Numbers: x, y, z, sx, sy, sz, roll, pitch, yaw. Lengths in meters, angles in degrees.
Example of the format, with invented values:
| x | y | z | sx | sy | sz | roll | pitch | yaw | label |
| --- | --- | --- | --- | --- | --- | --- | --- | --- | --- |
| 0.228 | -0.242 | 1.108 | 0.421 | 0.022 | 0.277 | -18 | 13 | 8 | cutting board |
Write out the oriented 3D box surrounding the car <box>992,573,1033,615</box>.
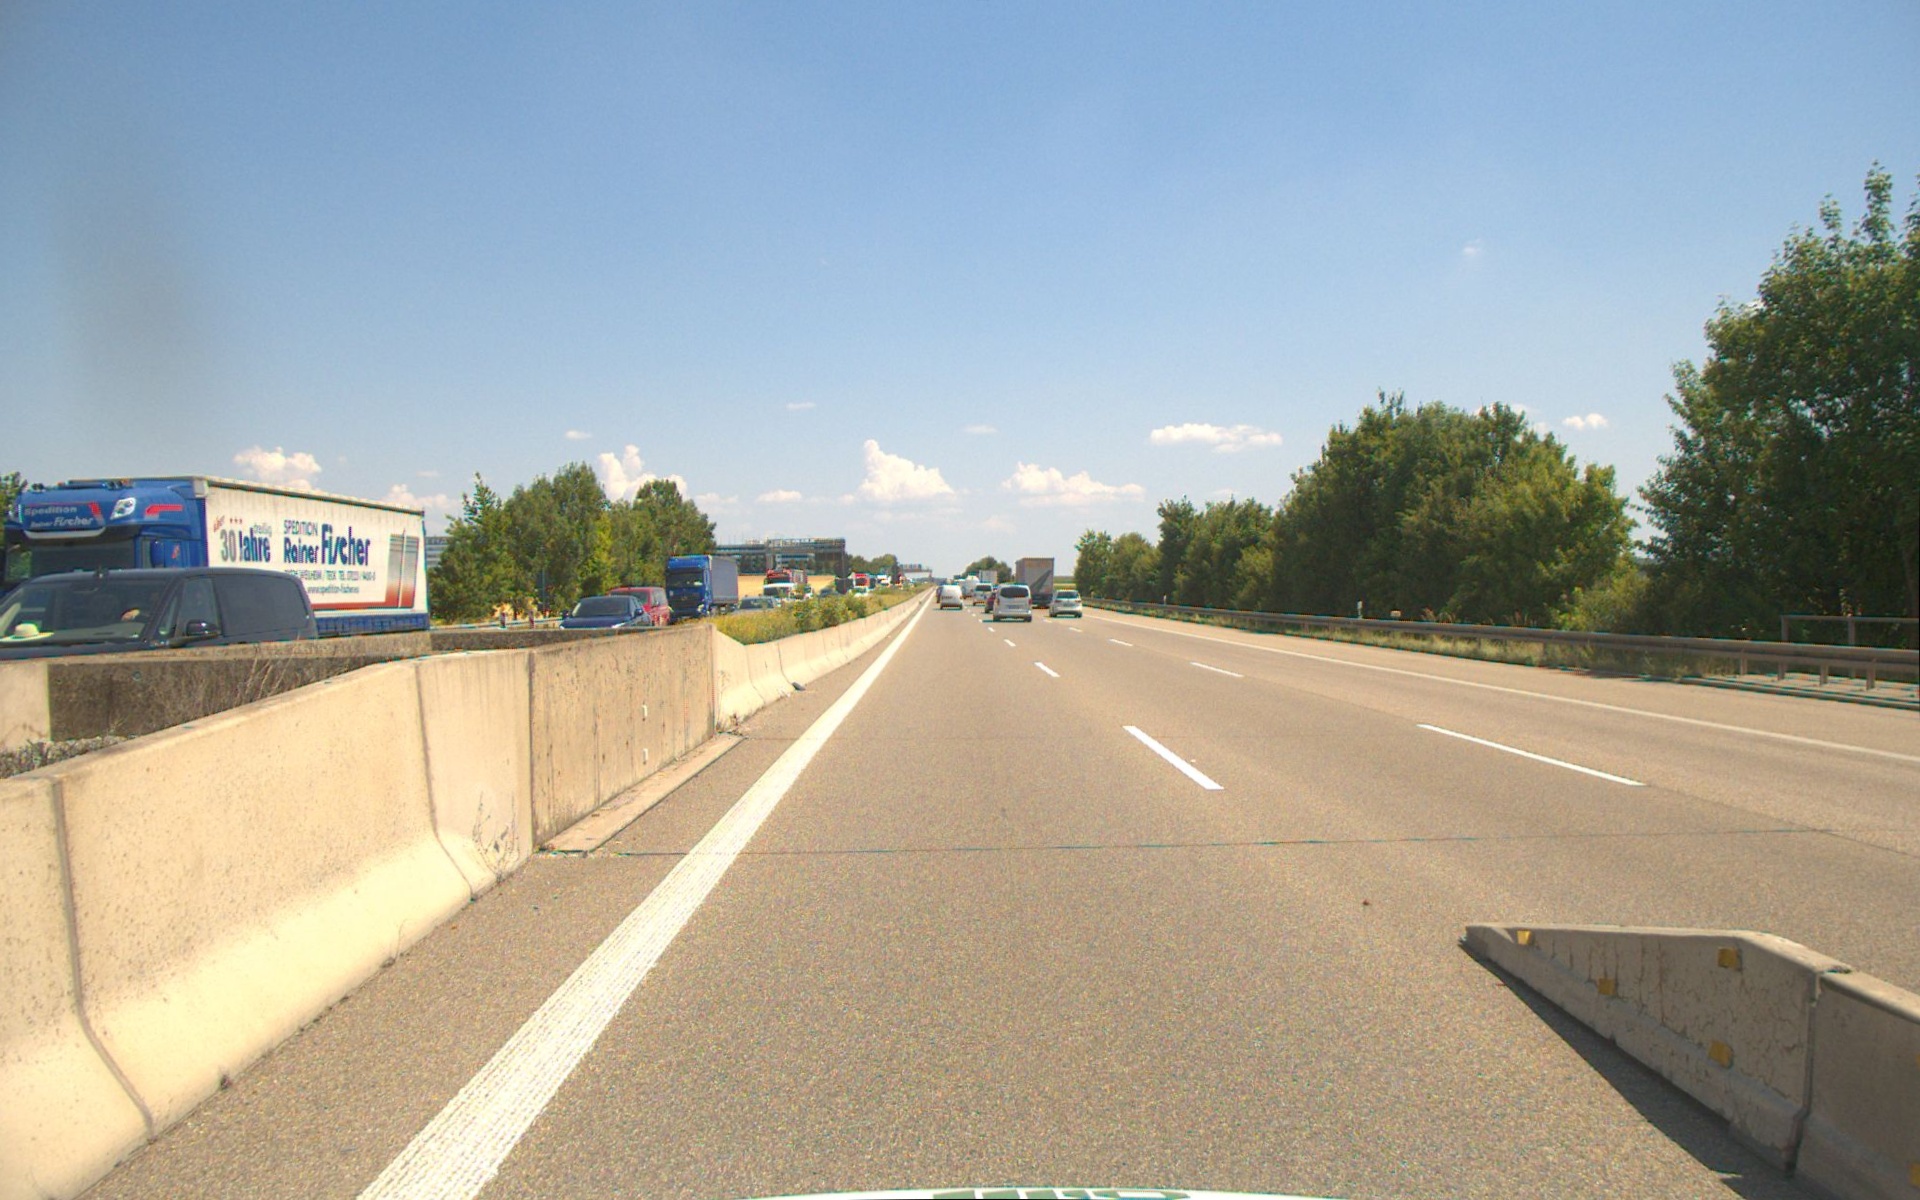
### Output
| x | y | z | sx | sy | sz | roll | pitch | yaw | label |
| --- | --- | --- | --- | --- | --- | --- | --- | --- | --- |
| 2.684 | -0.290 | 85.811 | 1.953 | 2.157 | 3.999 | 0 | -1 | -1 | car |

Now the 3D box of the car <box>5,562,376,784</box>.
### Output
| x | y | z | sx | sy | sz | roll | pitch | yaw | label |
| --- | --- | --- | --- | --- | --- | --- | --- | --- | --- |
| -7.812 | 0.659 | 17.345 | 1.776 | 1.980 | 4.614 | -1 | 0 | -1 | car |

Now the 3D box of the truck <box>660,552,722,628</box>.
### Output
| x | y | z | sx | sy | sz | roll | pitch | yaw | label |
| --- | --- | --- | --- | --- | --- | --- | --- | --- | --- |
| -16.311 | -0.603 | 100.550 | 2.807 | 4.426 | 5.585 | -1 | 0 | -1 | truck |

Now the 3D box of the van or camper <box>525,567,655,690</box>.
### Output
| x | y | z | sx | sy | sz | roll | pitch | yaw | label |
| --- | --- | --- | --- | --- | --- | --- | --- | --- | --- |
| -8.592 | 0.629 | 38.809 | 2.104 | 2.674 | 4.396 | -1 | 0 | -1 | van or camper |

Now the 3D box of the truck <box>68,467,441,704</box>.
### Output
| x | y | z | sx | sy | sz | roll | pitch | yaw | label |
| --- | --- | --- | --- | --- | --- | --- | --- | --- | --- |
| -15.497 | -0.286 | 38.200 | 2.540 | 4.312 | 14.120 | -3 | 0 | -1 | truck |

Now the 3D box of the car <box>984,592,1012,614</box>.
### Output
| x | y | z | sx | sy | sz | roll | pitch | yaw | label |
| --- | --- | --- | --- | --- | --- | --- | --- | --- | --- |
| 2.574 | 0.238 | 112.497 | 1.737 | 1.472 | 3.999 | 0 | -1 | -1 | car |

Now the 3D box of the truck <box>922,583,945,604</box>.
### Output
| x | y | z | sx | sy | sz | roll | pitch | yaw | label |
| --- | --- | --- | --- | --- | --- | --- | --- | --- | --- |
| -2.705 | -0.664 | 167.471 | 2.167 | 2.049 | 4.970 | -1 | 0 | -2 | truck |

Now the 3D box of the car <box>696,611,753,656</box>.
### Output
| x | y | z | sx | sy | sz | roll | pitch | yaw | label |
| --- | --- | --- | --- | --- | --- | --- | --- | --- | --- |
| -9.282 | 1.286 | 65.373 | 1.650 | 1.593 | 4.561 | -1 | 0 | -1 | car |

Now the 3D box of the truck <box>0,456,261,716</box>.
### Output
| x | y | z | sx | sy | sz | roll | pitch | yaw | label |
| --- | --- | --- | --- | --- | --- | --- | --- | --- | --- |
| -15.372 | -0.249 | 30.705 | 2.540 | 4.312 | 4.853 | -3 | 0 | -1 | truck |

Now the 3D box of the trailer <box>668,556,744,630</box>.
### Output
| x | y | z | sx | sy | sz | roll | pitch | yaw | label |
| --- | --- | --- | --- | --- | --- | --- | --- | --- | --- |
| -16.385 | -0.482 | 107.567 | 2.824 | 4.426 | 13.641 | -1 | 0 | 0 | trailer |

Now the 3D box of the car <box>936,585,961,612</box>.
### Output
| x | y | z | sx | sy | sz | roll | pitch | yaw | label |
| --- | --- | --- | --- | --- | --- | --- | --- | --- | --- |
| -0.900 | -0.084 | 128.526 | 1.953 | 2.049 | 3.999 | 0 | -1 | -1 | car |

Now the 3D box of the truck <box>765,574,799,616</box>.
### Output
| x | y | z | sx | sy | sz | roll | pitch | yaw | label |
| --- | --- | --- | --- | --- | --- | --- | --- | --- | --- |
| -17.341 | -0.487 | 161.217 | 2.798 | 3.922 | 3.999 | -2 | 0 | -1 | truck |

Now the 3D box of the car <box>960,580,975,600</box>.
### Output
| x | y | z | sx | sy | sz | roll | pitch | yaw | label |
| --- | --- | --- | --- | --- | --- | --- | --- | --- | --- |
| 0.865 | -1.229 | 201.232 | 1.737 | 2.434 | 3.999 | 0 | -1 | -1 | car |

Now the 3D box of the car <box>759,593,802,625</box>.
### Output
| x | y | z | sx | sy | sz | roll | pitch | yaw | label |
| --- | --- | --- | --- | --- | --- | --- | --- | --- | --- |
| -12.245 | 0.617 | 113.256 | 2.139 | 2.049 | 5.764 | -1 | 0 | 1 | car |

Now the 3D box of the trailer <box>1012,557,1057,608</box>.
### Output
| x | y | z | sx | sy | sz | roll | pitch | yaw | label |
| --- | --- | --- | --- | --- | --- | --- | --- | --- | --- |
| 6.174 | -1.370 | 138.255 | 3.211 | 4.036 | 9.110 | 0 | -1 | -1 | trailer |

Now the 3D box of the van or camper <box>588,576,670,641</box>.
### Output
| x | y | z | sx | sy | sz | roll | pitch | yaw | label |
| --- | --- | --- | --- | --- | --- | --- | --- | --- | --- |
| -12.374 | 0.282 | 62.114 | 2.051 | 2.314 | 5.492 | -1 | 0 | -2 | van or camper |

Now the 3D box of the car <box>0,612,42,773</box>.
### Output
| x | y | z | sx | sy | sz | roll | pitch | yaw | label |
| --- | --- | --- | --- | --- | --- | --- | --- | --- | --- |
| -10.966 | 1.008 | 16.075 | 1.851 | 1.683 | 4.094 | -1 | 0 | -2 | car |

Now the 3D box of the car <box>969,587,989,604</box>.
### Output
| x | y | z | sx | sy | sz | roll | pitch | yaw | label |
| --- | --- | --- | --- | --- | --- | --- | --- | --- | --- |
| 1.732 | -0.375 | 150.265 | 1.737 | 1.472 | 3.999 | 0 | -1 | -1 | car |

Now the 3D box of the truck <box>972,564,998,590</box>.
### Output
| x | y | z | sx | sy | sz | roll | pitch | yaw | label |
| --- | --- | --- | --- | --- | --- | --- | --- | --- | --- |
| 3.881 | -3.571 | 262.328 | 3.738 | 3.973 | 9.578 | -1 | 0 | -1 | truck |

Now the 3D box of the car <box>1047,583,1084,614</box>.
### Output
| x | y | z | sx | sy | sz | roll | pitch | yaw | label |
| --- | --- | --- | --- | --- | --- | --- | --- | --- | --- |
| 6.403 | -0.070 | 100.582 | 1.953 | 1.825 | 3.999 | 0 | -1 | -1 | car |
